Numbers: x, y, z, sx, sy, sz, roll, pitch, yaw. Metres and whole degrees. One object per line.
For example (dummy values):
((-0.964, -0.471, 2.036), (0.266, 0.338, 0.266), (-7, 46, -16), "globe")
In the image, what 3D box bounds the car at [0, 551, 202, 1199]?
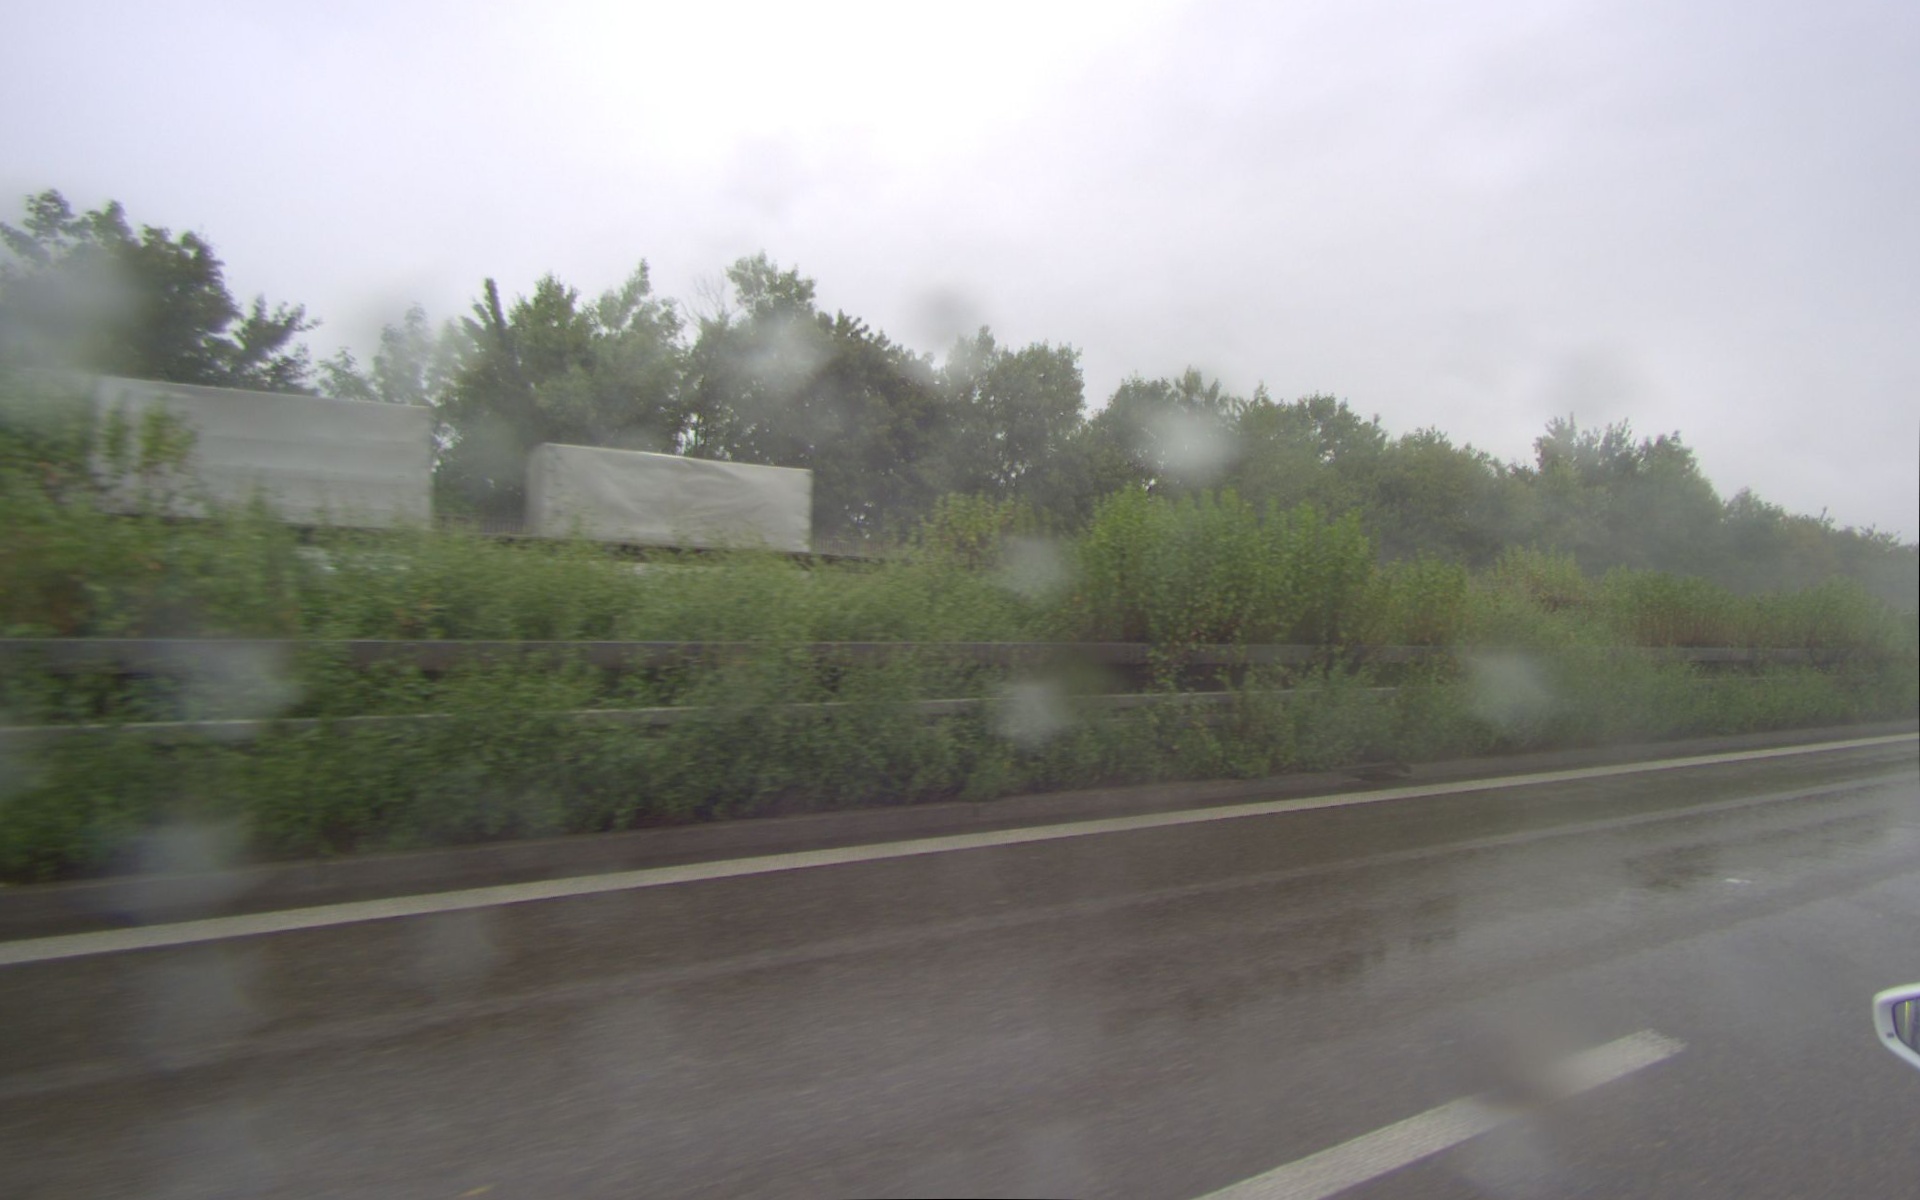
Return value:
((-4.613, 0.558, 1.666), (5.099, 1.505, 2.044), (2, 0, -31), "car")

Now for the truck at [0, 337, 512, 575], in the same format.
((-9.102, -1.676, 13.632), (5.283, 2.455, 2.228), (2, 0, -31), "truck")

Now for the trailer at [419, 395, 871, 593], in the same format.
((-4.898, -1.438, 16.079), (6.568, 2.460, 2.260), (2, 0, -30), "trailer")
